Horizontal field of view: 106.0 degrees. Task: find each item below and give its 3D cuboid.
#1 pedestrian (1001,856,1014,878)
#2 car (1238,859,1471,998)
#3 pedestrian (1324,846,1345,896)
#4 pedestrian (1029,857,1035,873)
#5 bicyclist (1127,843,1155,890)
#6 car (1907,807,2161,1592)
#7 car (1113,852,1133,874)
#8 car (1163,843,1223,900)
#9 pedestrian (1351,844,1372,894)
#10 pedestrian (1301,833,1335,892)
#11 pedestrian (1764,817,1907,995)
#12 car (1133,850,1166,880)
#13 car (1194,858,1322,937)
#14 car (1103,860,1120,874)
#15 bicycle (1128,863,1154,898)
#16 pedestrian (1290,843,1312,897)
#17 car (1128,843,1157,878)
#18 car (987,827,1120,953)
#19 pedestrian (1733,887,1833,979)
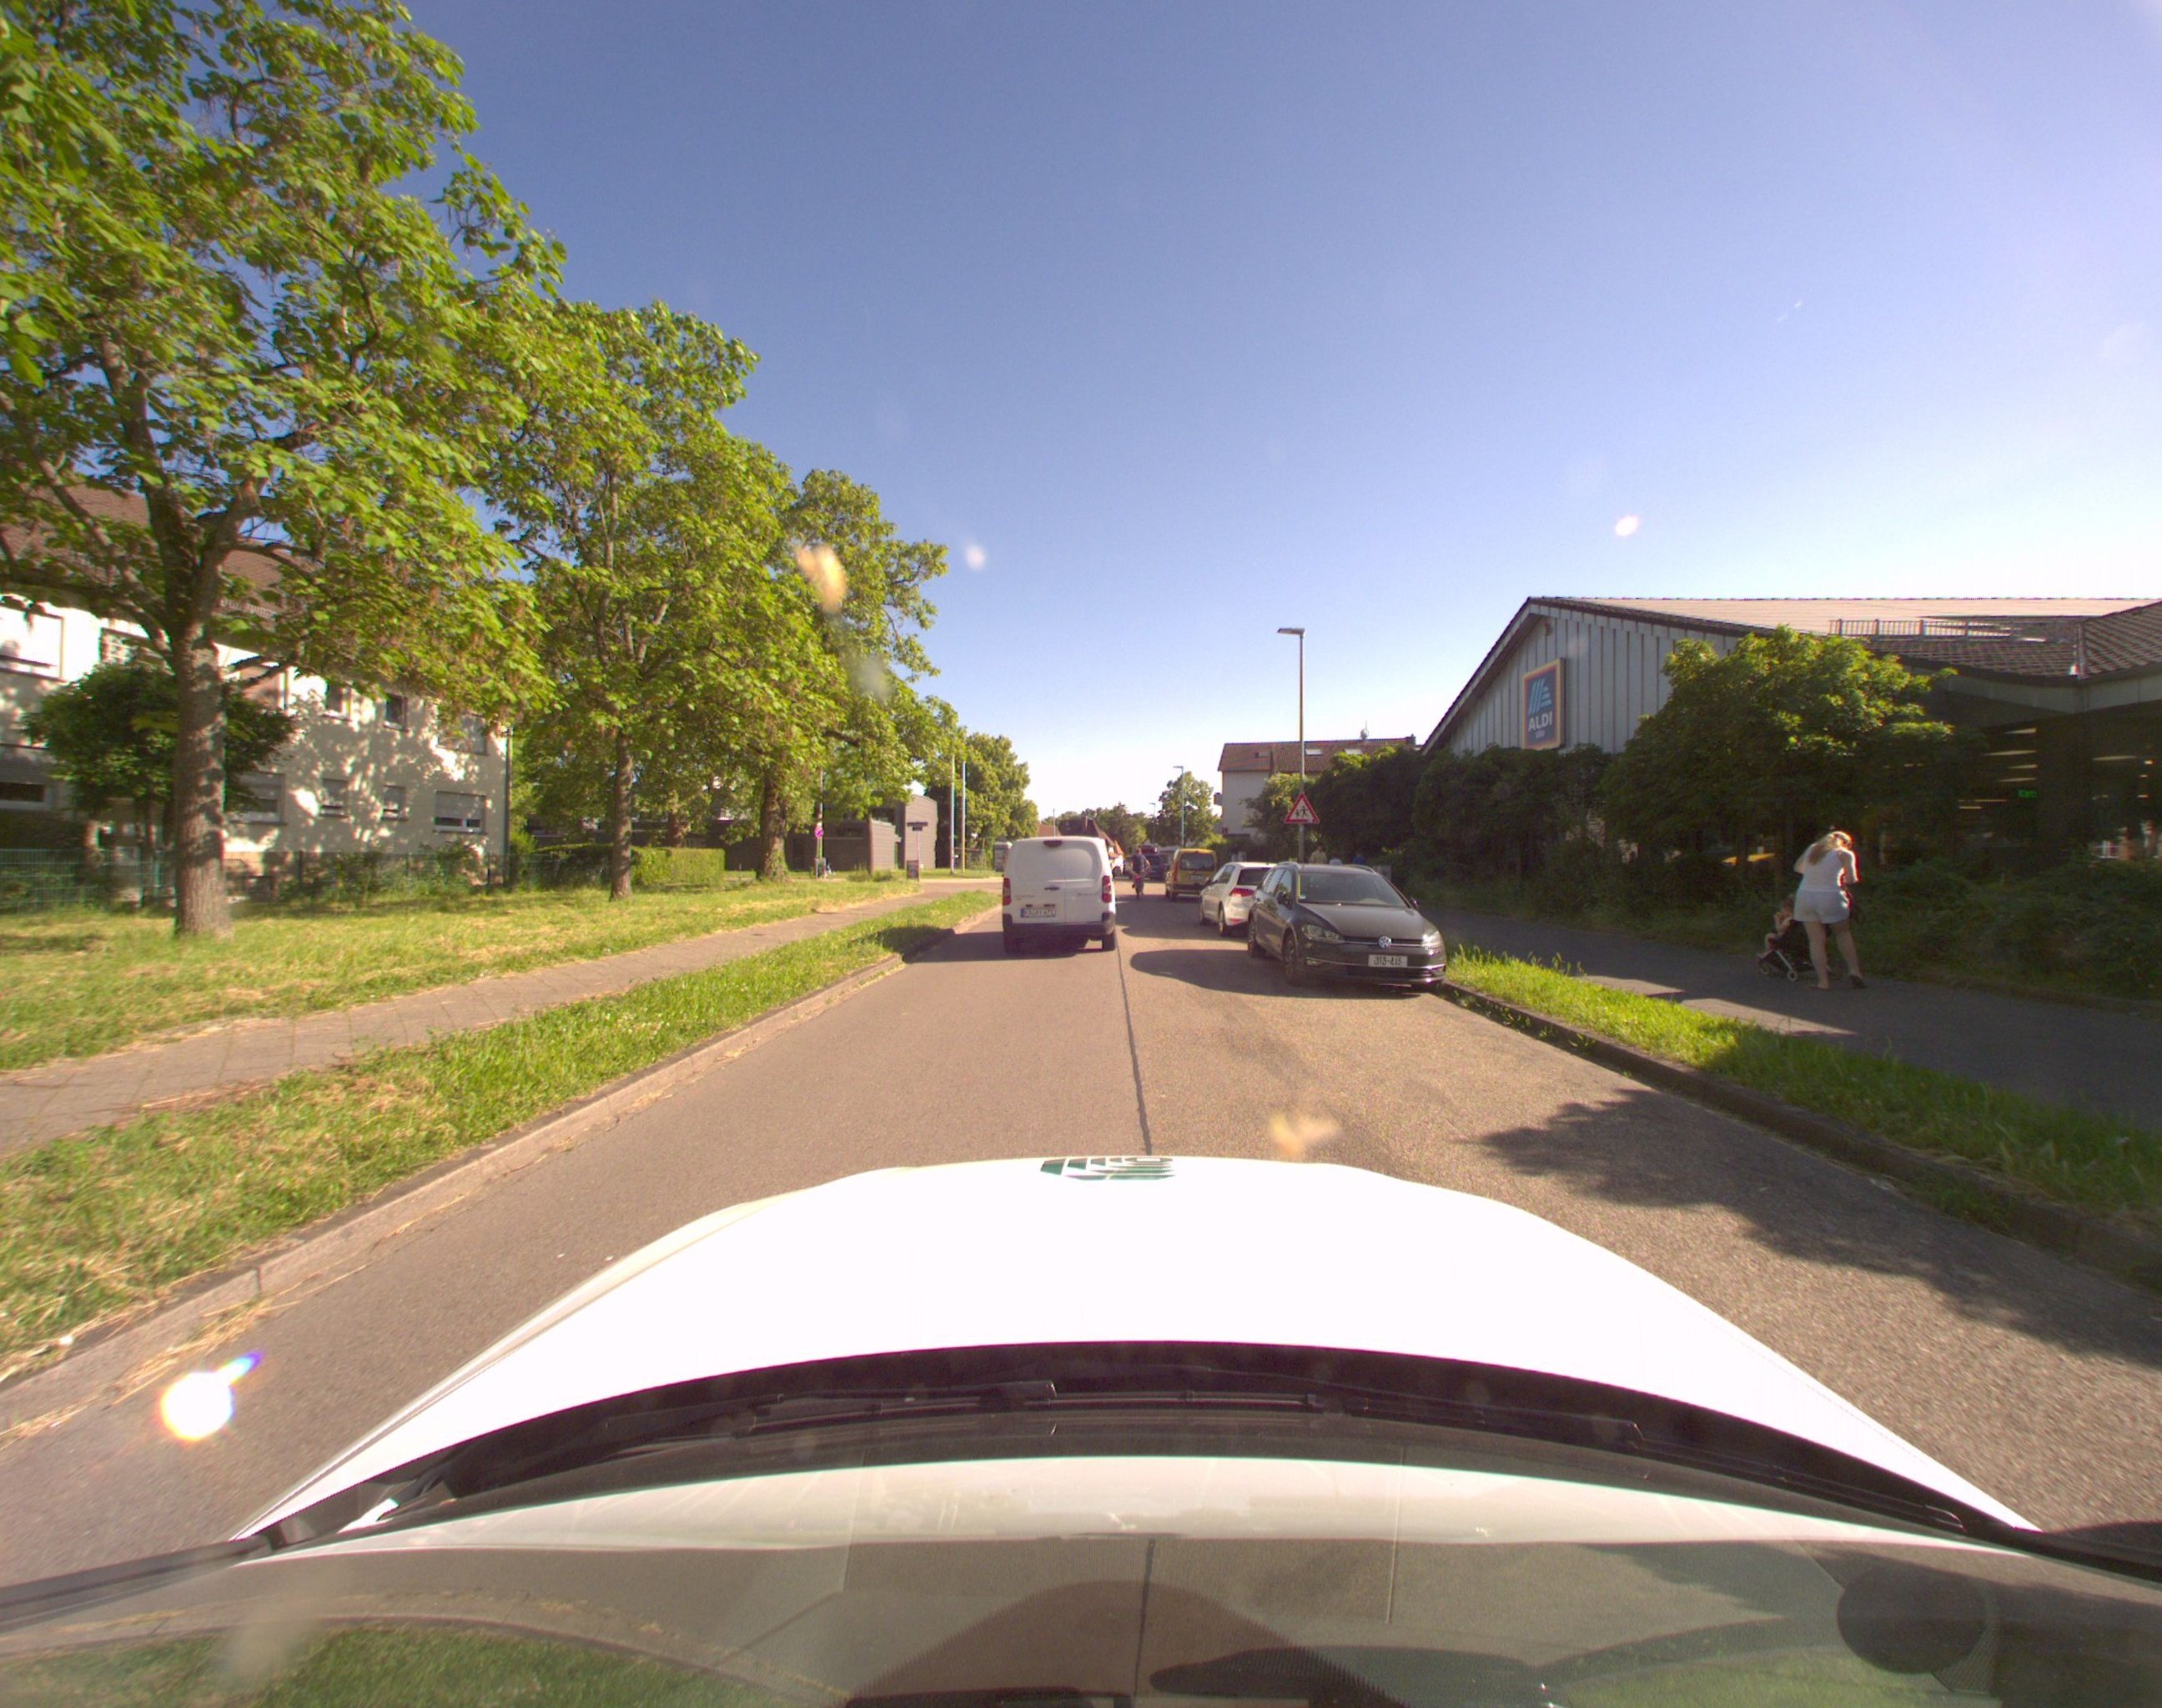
[{"bbox_3d":[-5.014,0.891,55.714,0.505,1.446,0.643,3,0,34],"label":"pedestrian"},{"bbox_3d":[3.381,0.821,11.000,1.800,1.443,4.365,1,0,2],"label":"car"},{"bbox_3d":[8.330,0.562,26.790,0.564,1.637,0.547,0,0,7],"label":"pedestrian"},{"bbox_3d":[-5.303,1.184,88.102,0.619,1.805,0.640,0,-2,0],"label":"pedestrian"},{"bbox_3d":[2.088,0.439,28.418,0.902,1.584,0.967,1,-1,1],"label":"bicyclist"},{"bbox_3d":[3.104,0.730,0.187,1.675,1.599,4.025,3,-1,-1],"label":"car"},{"bbox_3d":[4.173,0.899,81.736,1.798,2.069,3.999,2,-1,0],"label":"car"},{"bbox_3d":[3.896,0.597,28.806,1.717,1.837,4.002,1,0,2],"label":"car"},{"bbox_3d":[9.204,0.480,26.719,0.564,1.637,0.547,0,0,7],"label":"pedestrian"},{"bbox_3d":[7.665,0.271,26.402,0.792,1.861,0.872,1,-1,-6],"label":"pedestrian"},{"bbox_3d":[7.915,0.514,8.585,0.793,1.782,0.811,0,0,9],"label":"pedestrian"},{"bbox_3d":[4.629,0.745,55.346,1.798,1.785,3.999,6,-1,0],"label":"car"},{"bbox_3d":[3.559,0.821,17.062,1.820,1.452,4.000,1,0,0],"label":"car"},{"bbox_3d":[4.246,1.762,111.937,1.793,1.842,4.010,2,-1,9],"label":"car"},{"bbox_3d":[2.072,0.904,28.395,0.784,1.139,2.280,-1,-1,2],"label":"bicycle"},{"bbox_3d":[6.762,0.481,25.047,0.564,1.637,0.547,0,0,7],"label":"pedestrian"},{"bbox_3d":[4.688,0.520,62.572,1.860,2.562,4.767,2,-1,0],"label":"car"},{"bbox_3d":[-0.325,0.528,14.342,1.986,1.882,4.291,0,0,2],"label":"car"},{"bbox_3d":[8.101,0.894,9.430,0.529,0.980,0.812,1,0,9],"label":"pedestrian"}]
